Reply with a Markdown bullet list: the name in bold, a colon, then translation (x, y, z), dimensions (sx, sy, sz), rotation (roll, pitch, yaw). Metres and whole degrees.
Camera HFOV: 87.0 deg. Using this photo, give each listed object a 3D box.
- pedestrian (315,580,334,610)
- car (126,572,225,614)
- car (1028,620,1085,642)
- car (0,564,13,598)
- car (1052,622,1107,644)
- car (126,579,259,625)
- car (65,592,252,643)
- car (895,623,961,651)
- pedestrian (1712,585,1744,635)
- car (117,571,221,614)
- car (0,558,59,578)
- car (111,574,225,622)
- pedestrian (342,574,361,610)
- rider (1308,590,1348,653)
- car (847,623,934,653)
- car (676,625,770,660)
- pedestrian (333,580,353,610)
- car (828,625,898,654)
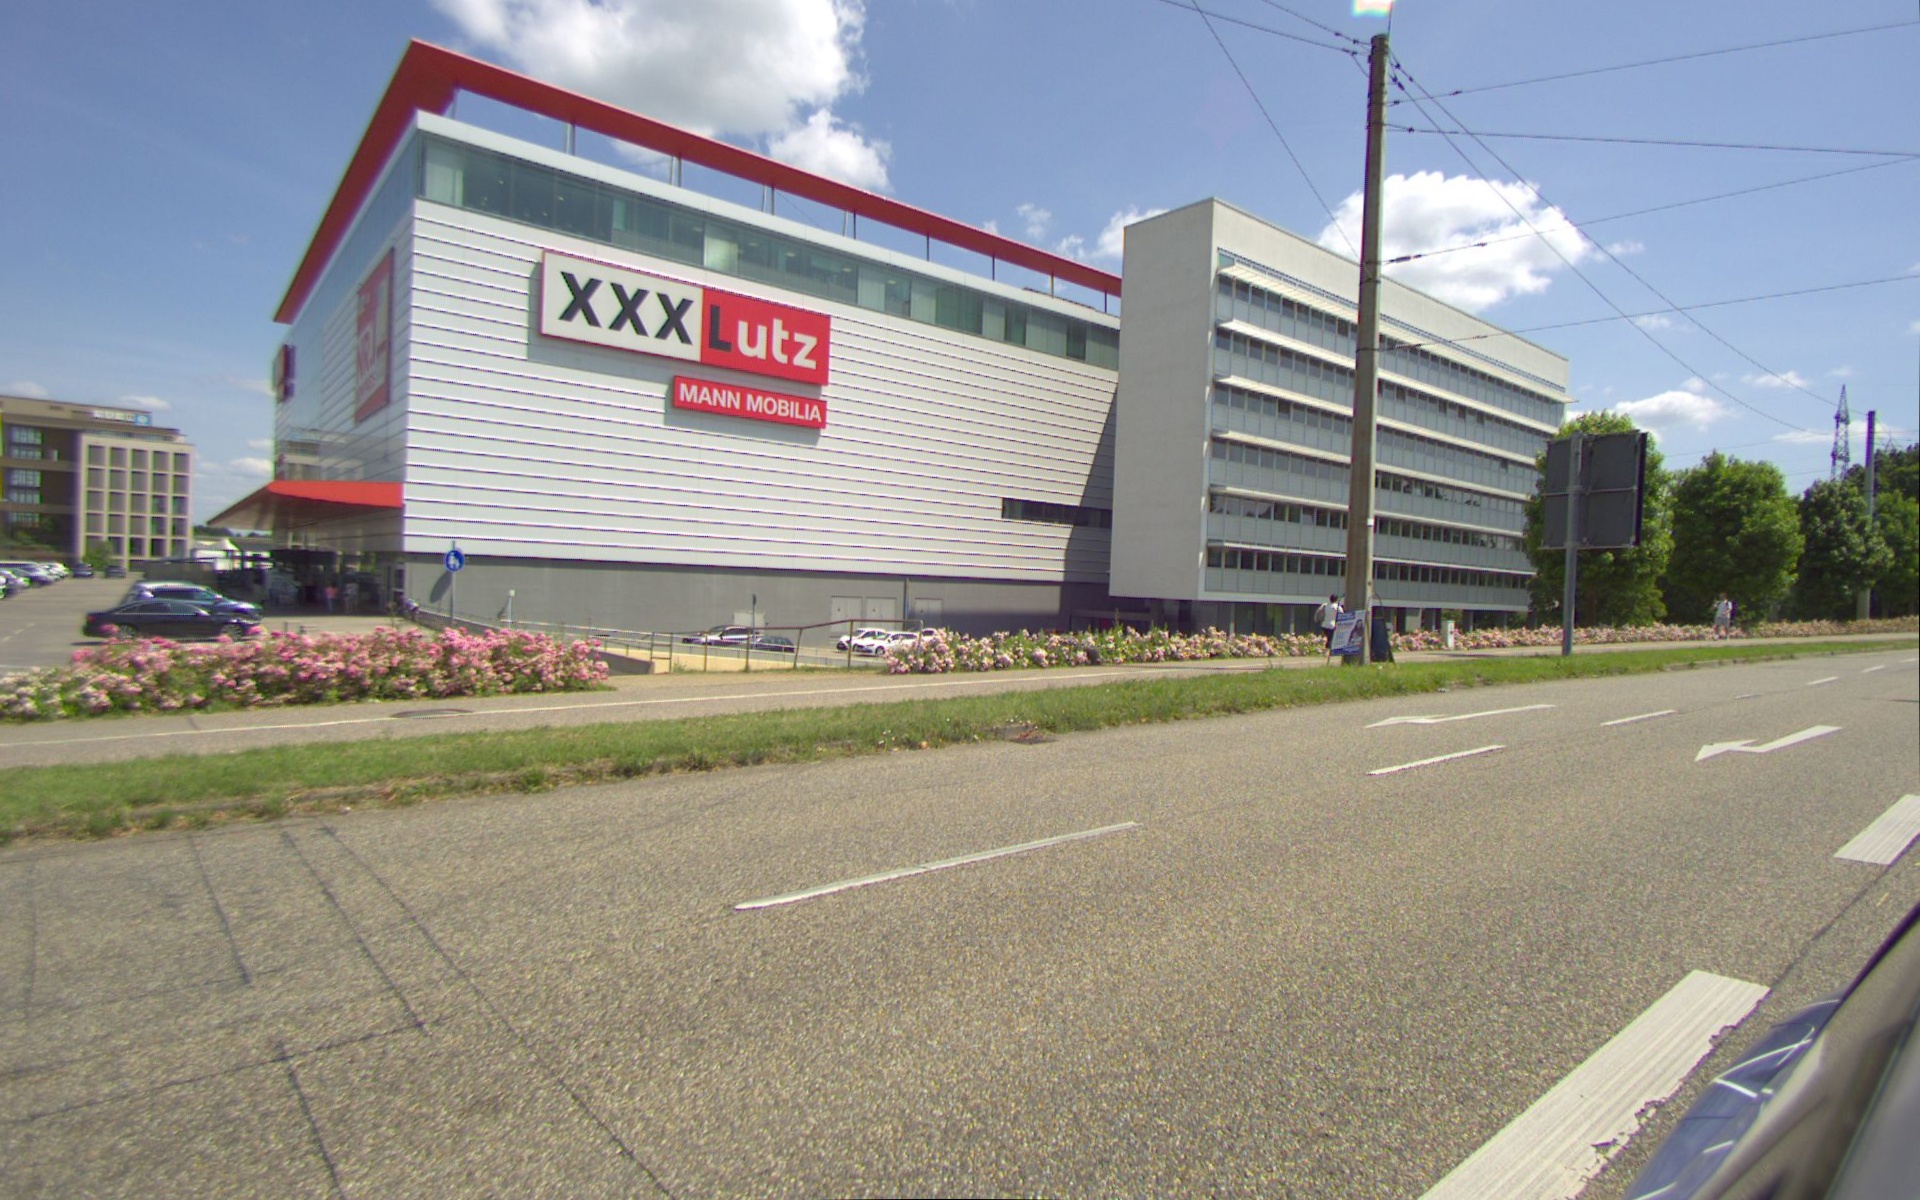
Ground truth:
- **pedestrian**: translation (-32.961, -0.266, 52.513), dimensions (0.723, 1.577, 0.741), rotation (1, 0, -42)
- **car**: translation (-40.212, -0.365, 51.891), dimensions (3.930, 2.039, 1.997), rotation (0, 1, -41)
- **car**: translation (7.006, 2.228, 73.217), dimensions (3.930, 1.465, 1.997), rotation (0, 0, -41)
- **car**: translation (-60.097, -1.163, 61.251), dimensions (3.930, 2.039, 1.997), rotation (0, 1, -41)
- **car**: translation (8.433, 2.298, 71.391), dimensions (3.930, 1.403, 1.646), rotation (0, 0, -41)
- **car**: translation (-31.486, 0.091, 41.589), dimensions (4.256, 1.804, 1.997), rotation (0, -1, -41)
- **car**: translation (-27.398, 0.548, 34.748), dimensions (4.912, 1.631, 1.997), rotation (0, 0, -41)
- **car**: translation (-2.069, 2.395, 65.962), dimensions (3.930, 1.632, 1.997), rotation (0, 0, -41)
- **pedestrian**: translation (28.892, 0.364, 38.060), dimensions (0.913, 1.872, 0.758), rotation (0, 0, -38)
- **car**: translation (-38.783, -0.362, 49.660), dimensions (3.930, 2.039, 1.997), rotation (0, 0, -41)
- **car**: translation (-79.887, -2.694, 85.943), dimensions (4.912, 1.631, 1.997), rotation (0, 0, -41)
- **car**: translation (-35.454, -0.097, 45.346), dimensions (3.930, 2.039, 1.997), rotation (0, 1, -41)
- **pedestrian**: translation (-32.148, -0.417, 53.470), dimensions (0.723, 1.893, 0.741), rotation (1, 0, -42)
- **rider**: translation (8.775, 0.492, 24.123), dimensions (0.607, 1.476, 0.670), rotation (0, 0, -41)
- **car**: translation (-4.120, 2.244, 60.832), dimensions (5.056, 1.632, 1.997), rotation (0, 0, -41)
- **car**: translation (-12.583, 2.215, 53.889), dimensions (4.509, 1.632, 1.997), rotation (0, 0, -41)
- **pedestrian**: translation (-31.897, -0.261, 52.323), dimensions (0.723, 1.577, 0.741), rotation (1, 0, -42)
- **car**: translation (-6.001, 2.406, 62.725), dimensions (3.930, 1.632, 1.997), rotation (0, 0, -41)
